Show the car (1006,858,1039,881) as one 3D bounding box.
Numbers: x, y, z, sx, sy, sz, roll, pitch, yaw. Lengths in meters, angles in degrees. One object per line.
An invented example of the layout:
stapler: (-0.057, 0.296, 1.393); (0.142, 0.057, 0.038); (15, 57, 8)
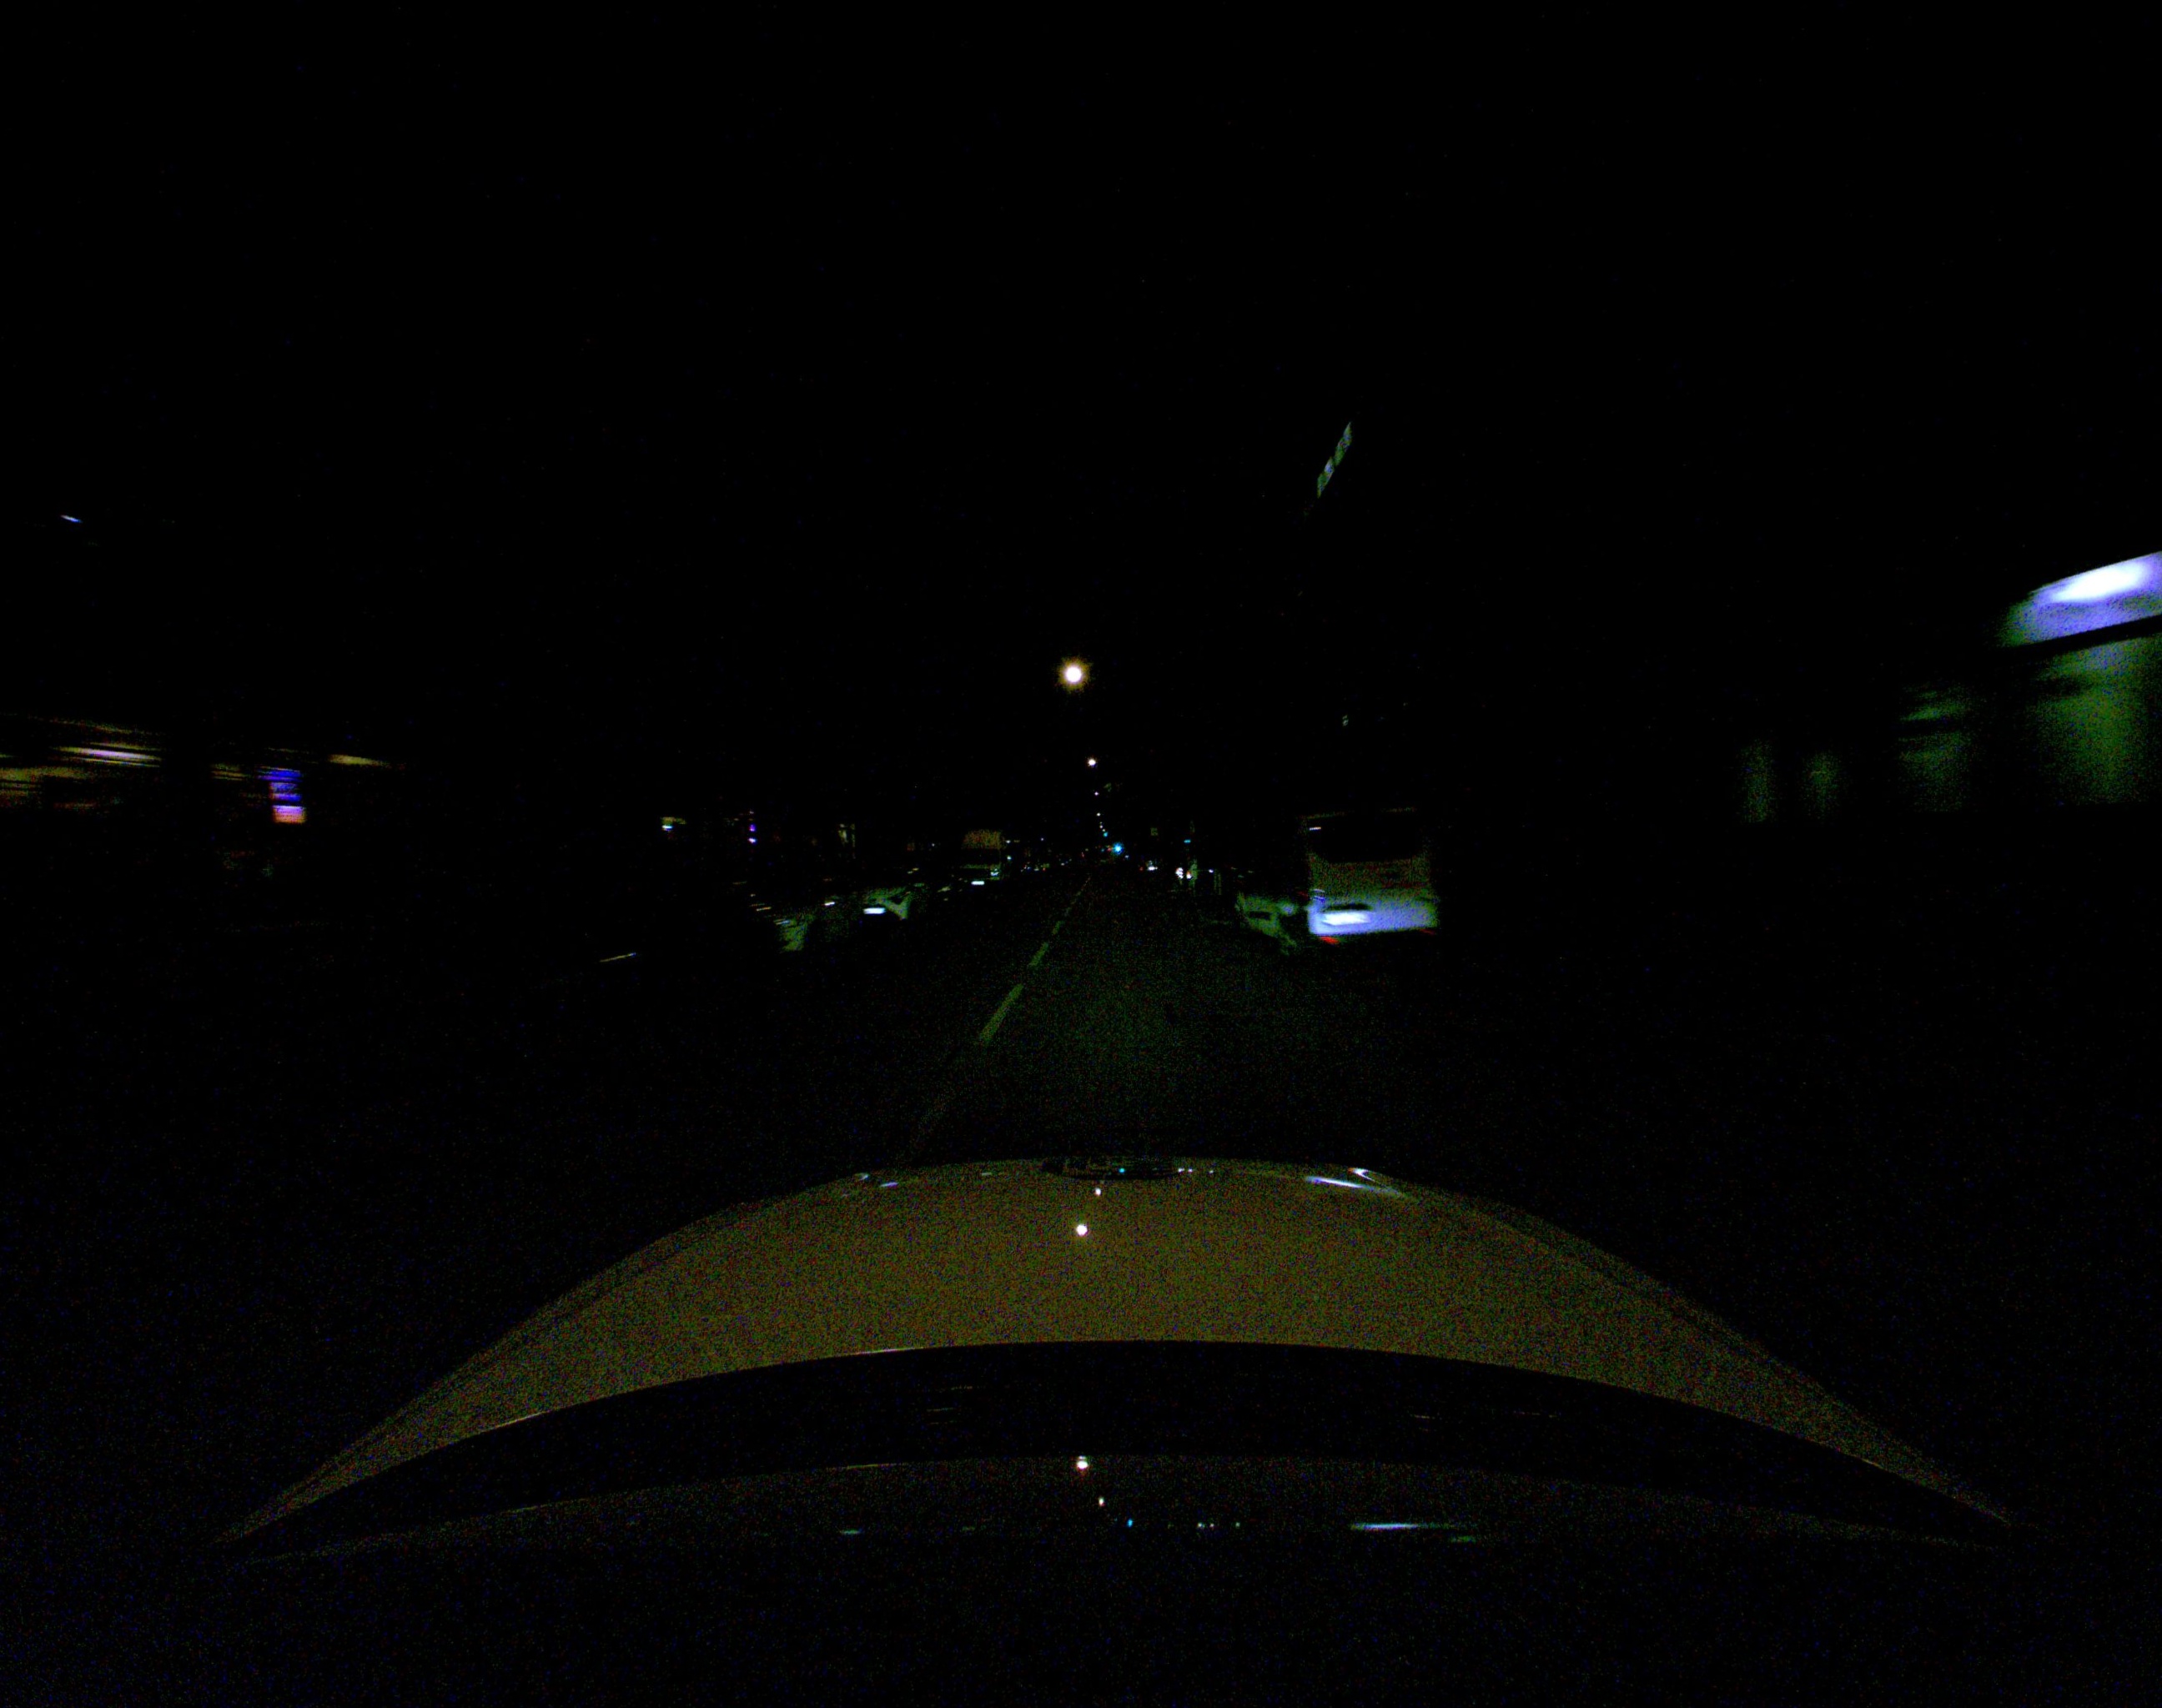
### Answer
car: (-3.873, 1.026, 54.757); (1.698, 1.411, 4.635); (-2, 0, 1)

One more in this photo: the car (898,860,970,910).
car: (-4.854, 0.984, 27.373); (1.640, 1.505, 3.861); (-1, 0, 1)

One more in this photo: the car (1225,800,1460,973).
car: (3.569, 0.390, 12.157); (1.944, 1.964, 4.603); (-4, 0, 0)

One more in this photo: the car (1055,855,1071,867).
car: (-2.301, 0.839, 104.458); (1.693, 1.433, 3.831); (1, 0, 3)

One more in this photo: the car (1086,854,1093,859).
car: (2.423, 0.645, 232.646); (1.734, 1.416, 3.754); (-2, 0, 2)

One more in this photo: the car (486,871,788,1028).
car: (-5.290, 1.029, 10.365); (1.636, 1.504, 3.904); (0, 0, 1)

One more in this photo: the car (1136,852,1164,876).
car: (4.576, 0.633, 54.379); (1.661, 1.429, 4.152); (-4, 0, 4)

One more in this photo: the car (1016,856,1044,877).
car: (-3.711, 0.903, 59.970); (1.710, 1.502, 4.206); (0, 0, 1)

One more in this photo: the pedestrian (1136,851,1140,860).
pedestrian: (10.411, 0.267, 148.900); (0.703, 1.721, 0.822); (-4, 0, 2)

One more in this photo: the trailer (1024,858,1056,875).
trailer: (-3.323, 1.032, 67.497); (2.102, 1.335, 5.439); (0, 0, 3)

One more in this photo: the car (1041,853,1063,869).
car: (-2.920, 0.699, 82.662); (1.815, 1.599, 4.076); (1, 0, 3)

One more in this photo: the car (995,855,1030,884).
car: (-4.098, 0.888, 49.380); (1.736, 1.606, 4.297); (-1, 0, 0)

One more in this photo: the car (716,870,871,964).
car: (-5.174, 1.058, 15.193); (1.439, 1.429, 3.904); (0, 0, 1)

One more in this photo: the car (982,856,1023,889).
car: (-4.167, 0.947, 43.701); (1.736, 1.606, 4.116); (-1, 1, 1)

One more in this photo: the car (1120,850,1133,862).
car: (7.013, 0.297, 124.954); (1.846, 1.654, 4.211); (-1, 0, 2)

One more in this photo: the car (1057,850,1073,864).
car: (-2.222, 0.361, 112.122); (1.815, 1.811, 4.213); (1, 0, 3)

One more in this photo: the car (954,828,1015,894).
car: (-4.463, 0.294, 38.362); (2.171, 2.909, 4.911); (-1, 0, 1)

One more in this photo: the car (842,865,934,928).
car: (-4.953, 1.042, 21.271); (1.542, 1.455, 3.369); (-1, 0, 1)
